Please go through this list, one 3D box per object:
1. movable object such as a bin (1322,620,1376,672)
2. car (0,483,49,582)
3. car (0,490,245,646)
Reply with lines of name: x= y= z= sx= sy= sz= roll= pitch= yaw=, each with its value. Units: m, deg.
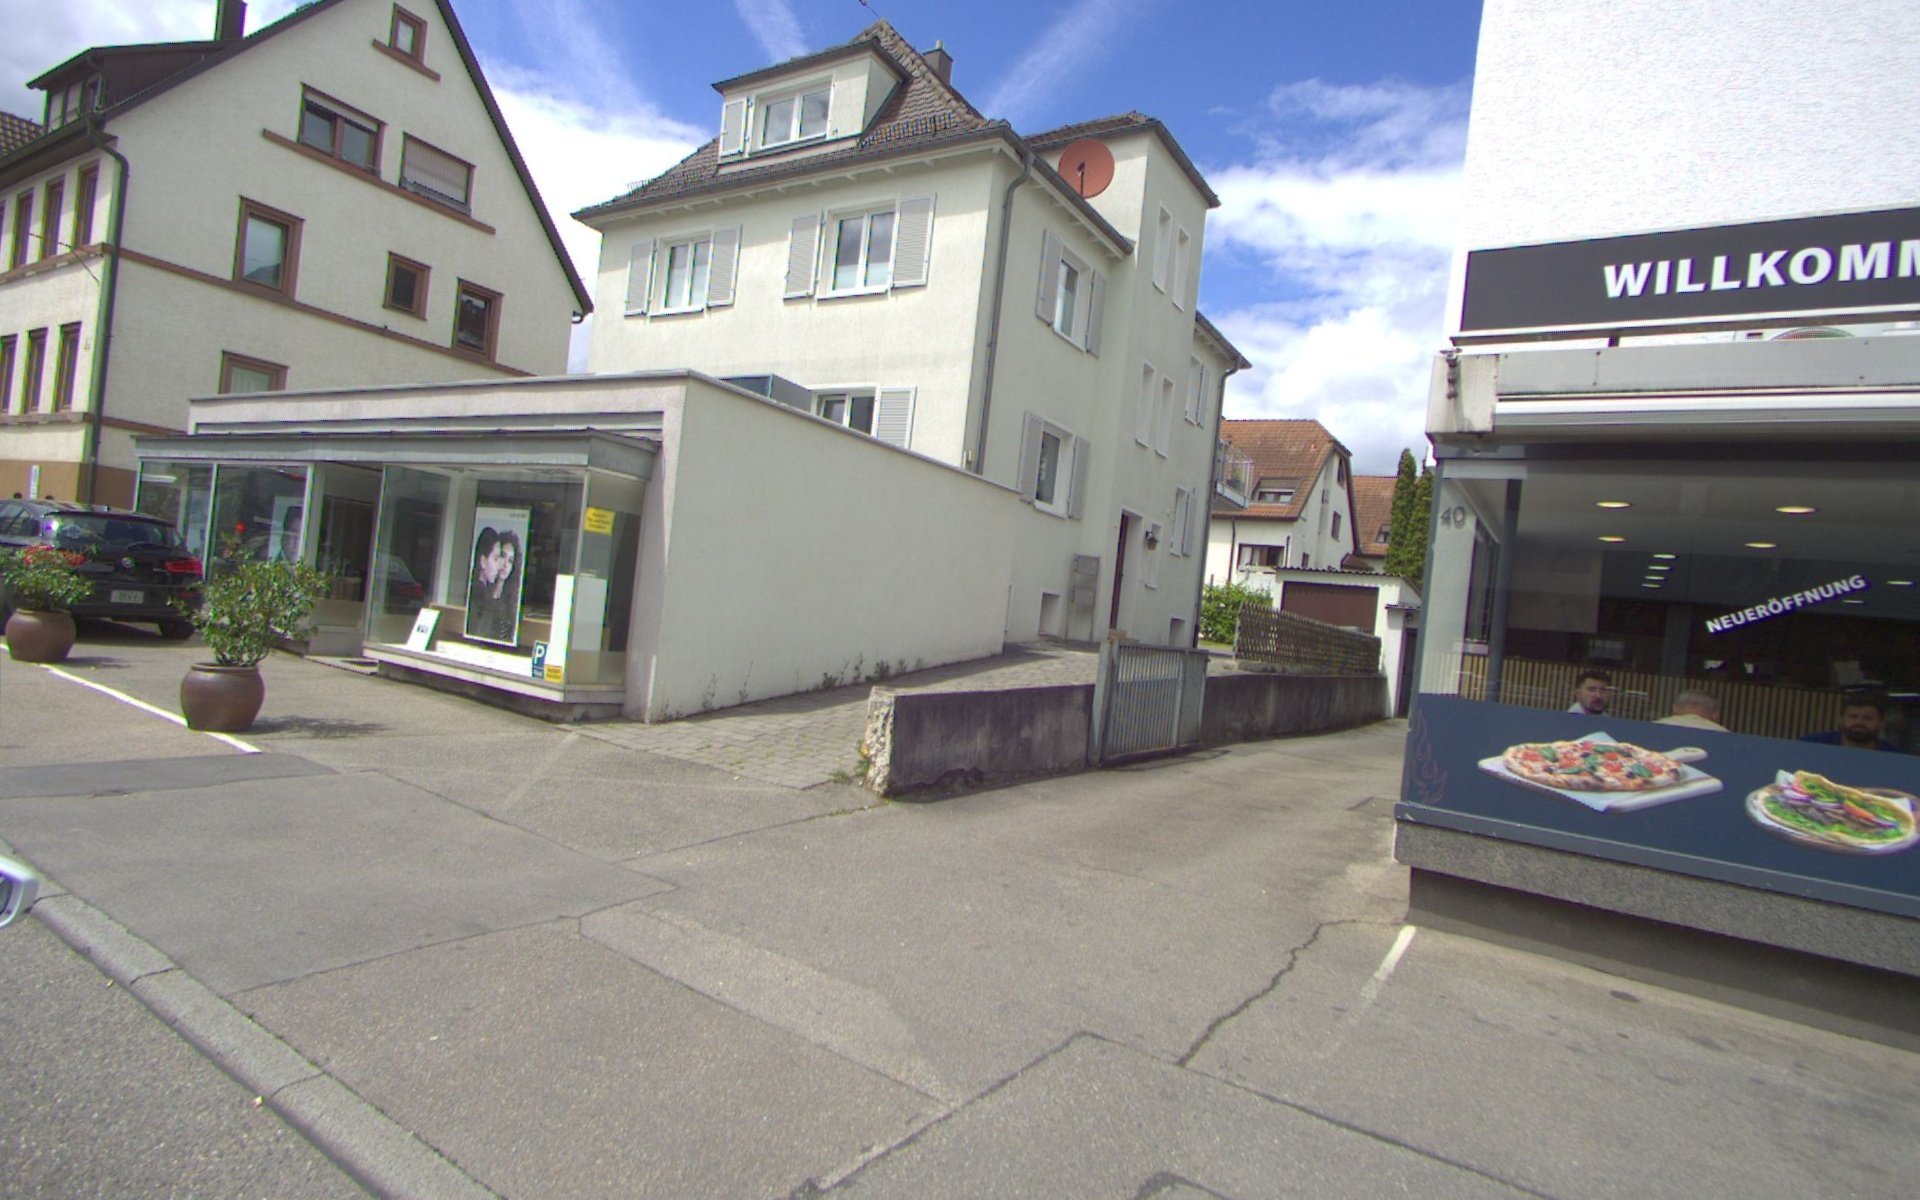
movable object such as a bin: x=9.138 y=1.089 z=23.611 sx=0.849 sy=1.092 sz=1.278 roll=7 pitch=0 yaw=32
car: x=-17.306 y=-1.366 z=16.831 sx=4.235 sy=1.466 sz=1.879 roll=9 pitch=1 yaw=31
car: x=-10.634 y=-0.479 z=11.825 sx=4.460 sy=1.465 sz=1.970 roll=7 pitch=0 yaw=31
